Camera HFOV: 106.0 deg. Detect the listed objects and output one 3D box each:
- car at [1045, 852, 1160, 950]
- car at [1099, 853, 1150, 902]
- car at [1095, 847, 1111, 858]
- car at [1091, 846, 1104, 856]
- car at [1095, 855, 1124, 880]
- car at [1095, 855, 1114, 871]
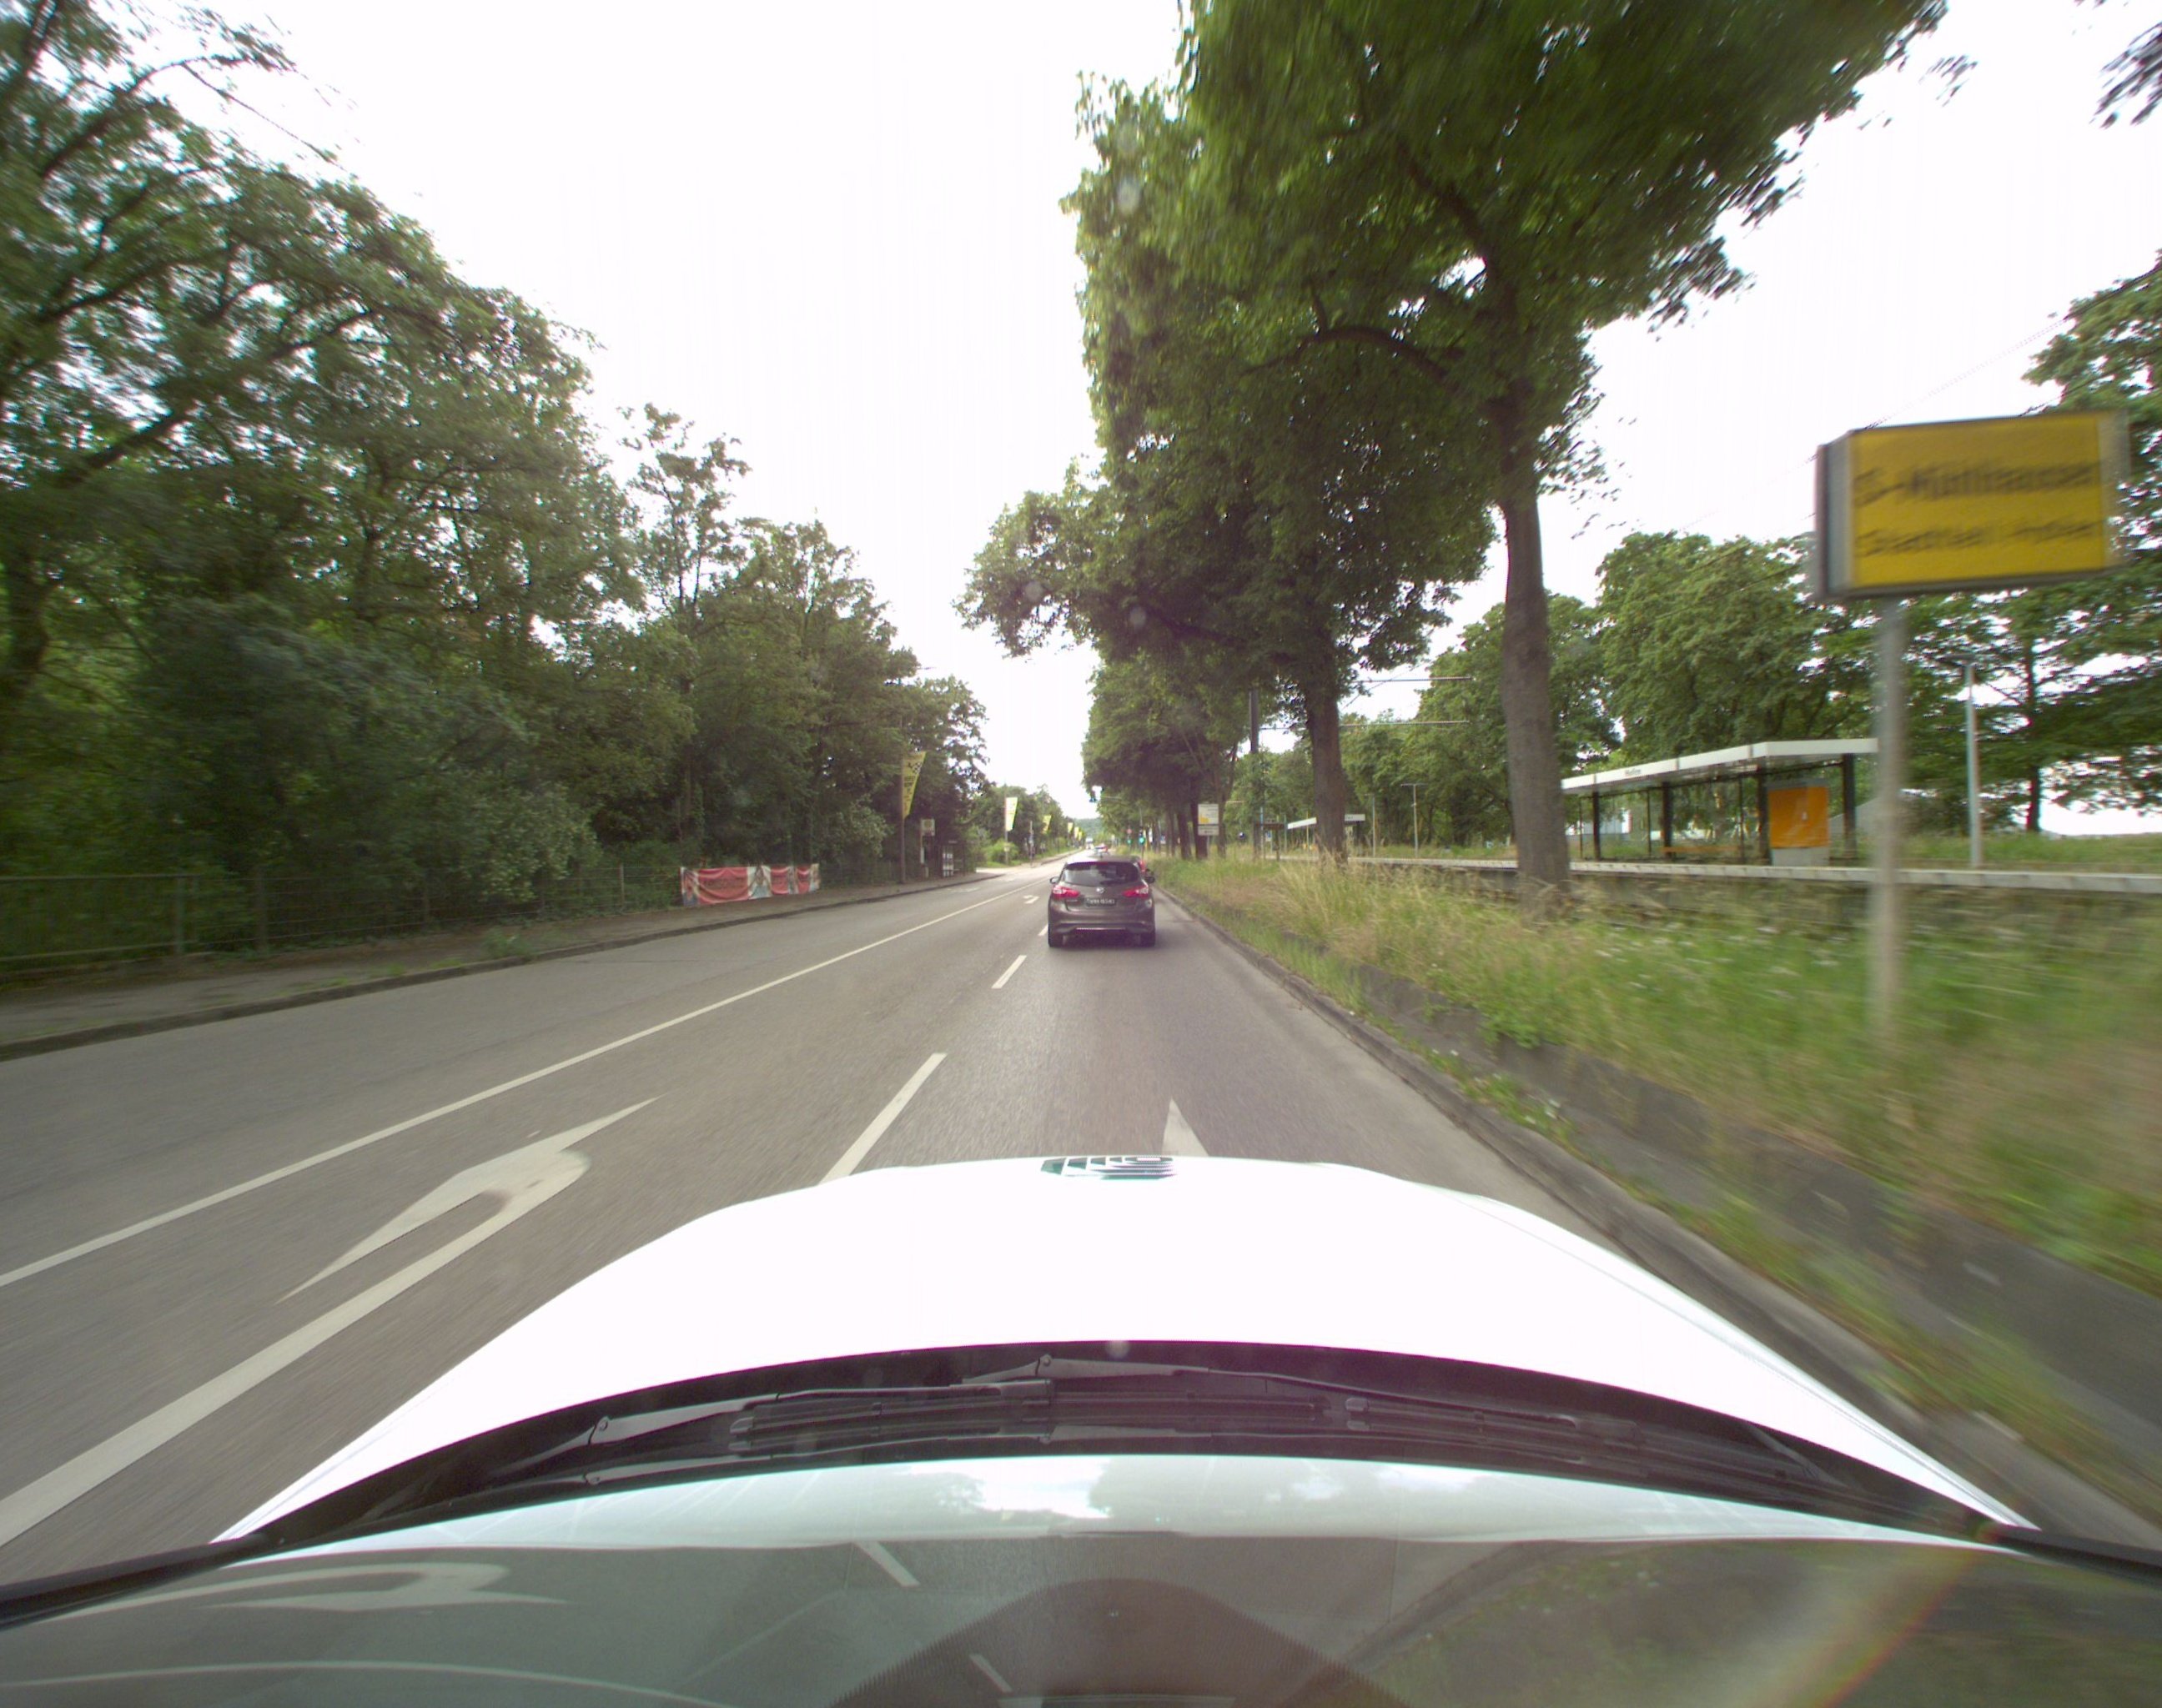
[{"bbox_3d":[0.408,0.737,14.601,1.776,1.507,3.698,-1,0,2],"label":"car"},{"bbox_3d":[1.359,0.697,26.193,1.496,1.441,3.543,-1,0,2],"label":"car"},{"bbox_3d":[2.705,-0.152,99.458,1.986,1.321,4.002,1,-1,2],"label":"car"},{"bbox_3d":[2.653,-0.504,129.977,1.986,1.574,4.001,1,-1,2],"label":"car"},{"bbox_3d":[1.696,0.815,49.470,1.685,1.441,3.543,-1,0,2],"label":"car"},{"bbox_3d":[2.153,0.850,75.569,1.685,1.441,3.543,-1,0,2],"label":"car"}]
